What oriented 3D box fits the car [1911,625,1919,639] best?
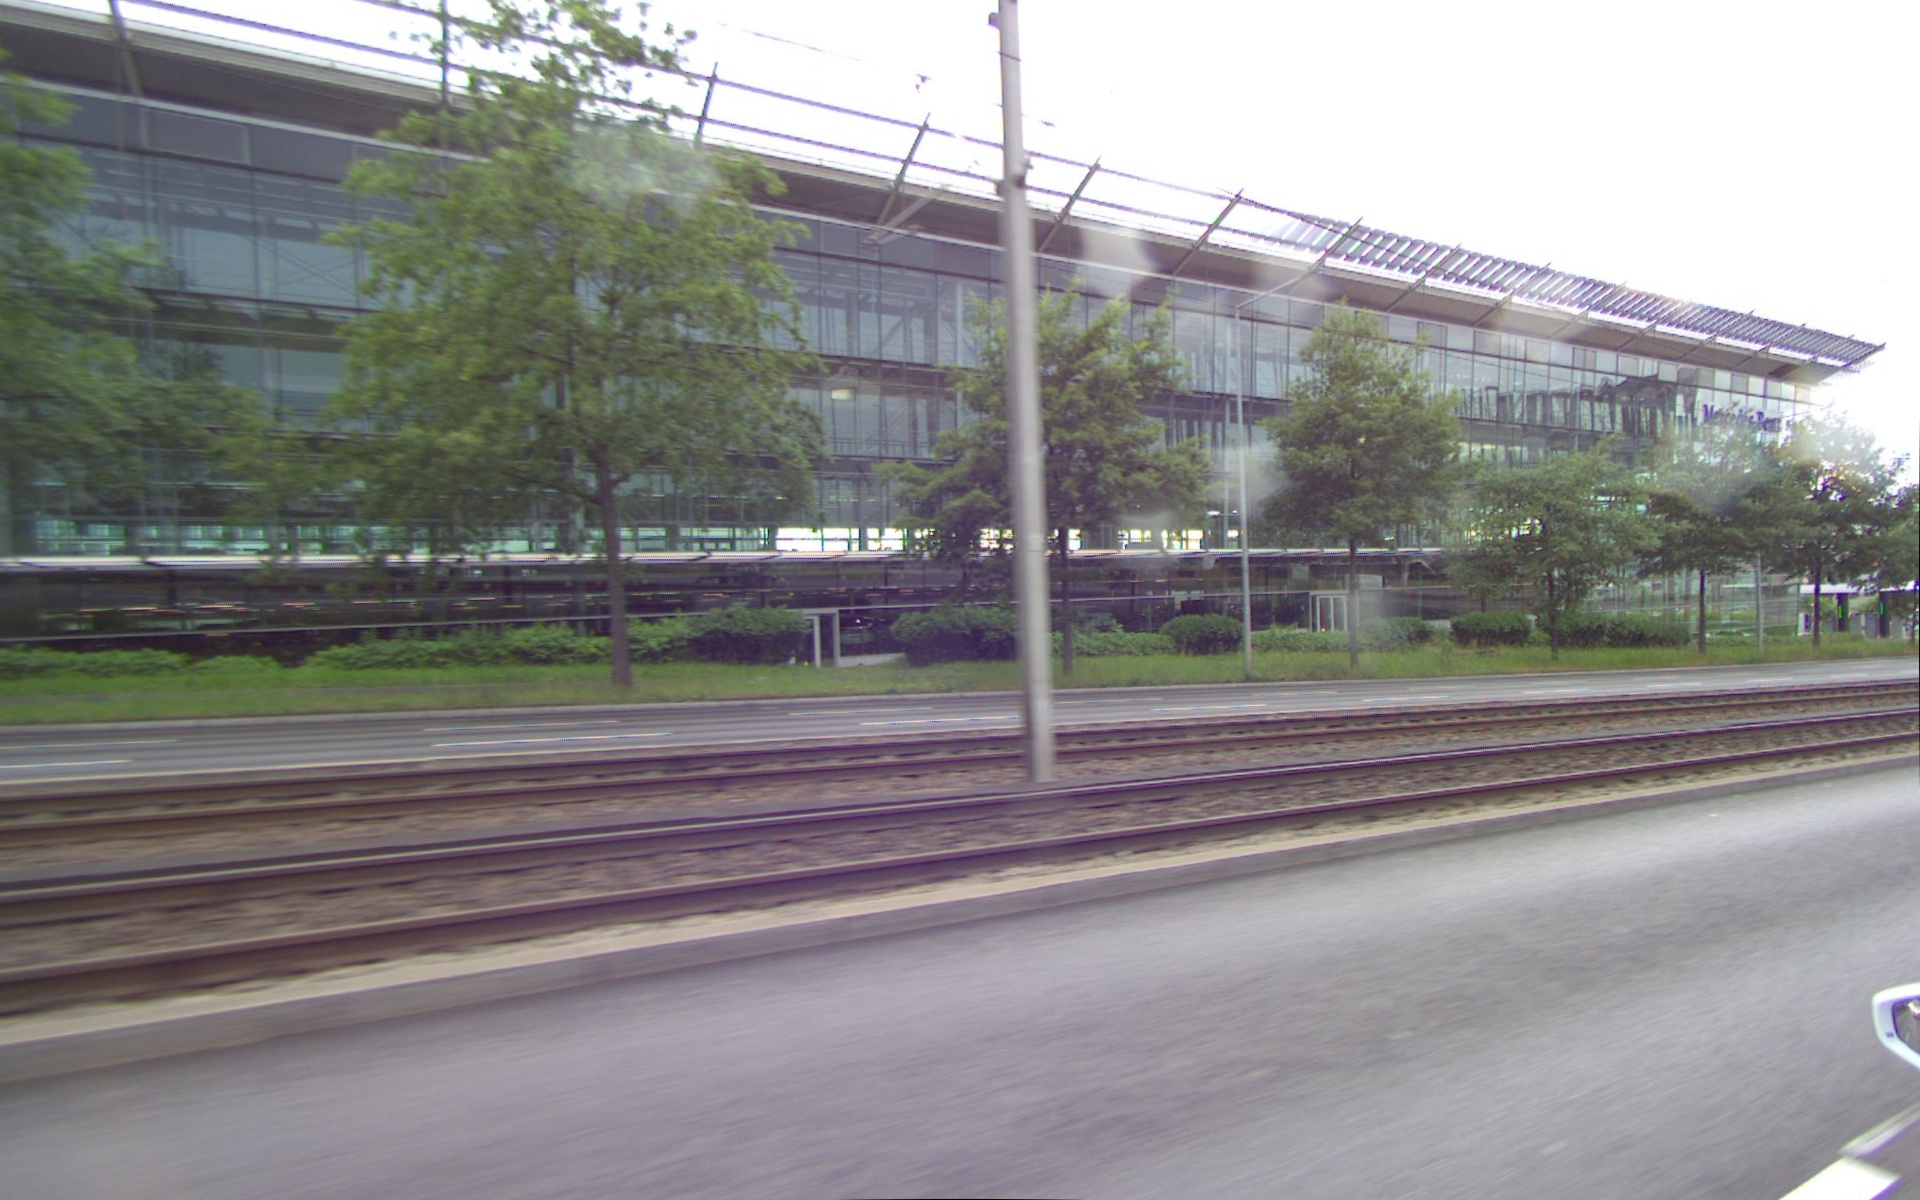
[{"bbox_3d":[113.648,3.789,118.464,1.730,1.514,3.983,2,0,39],"label":"car"}]
